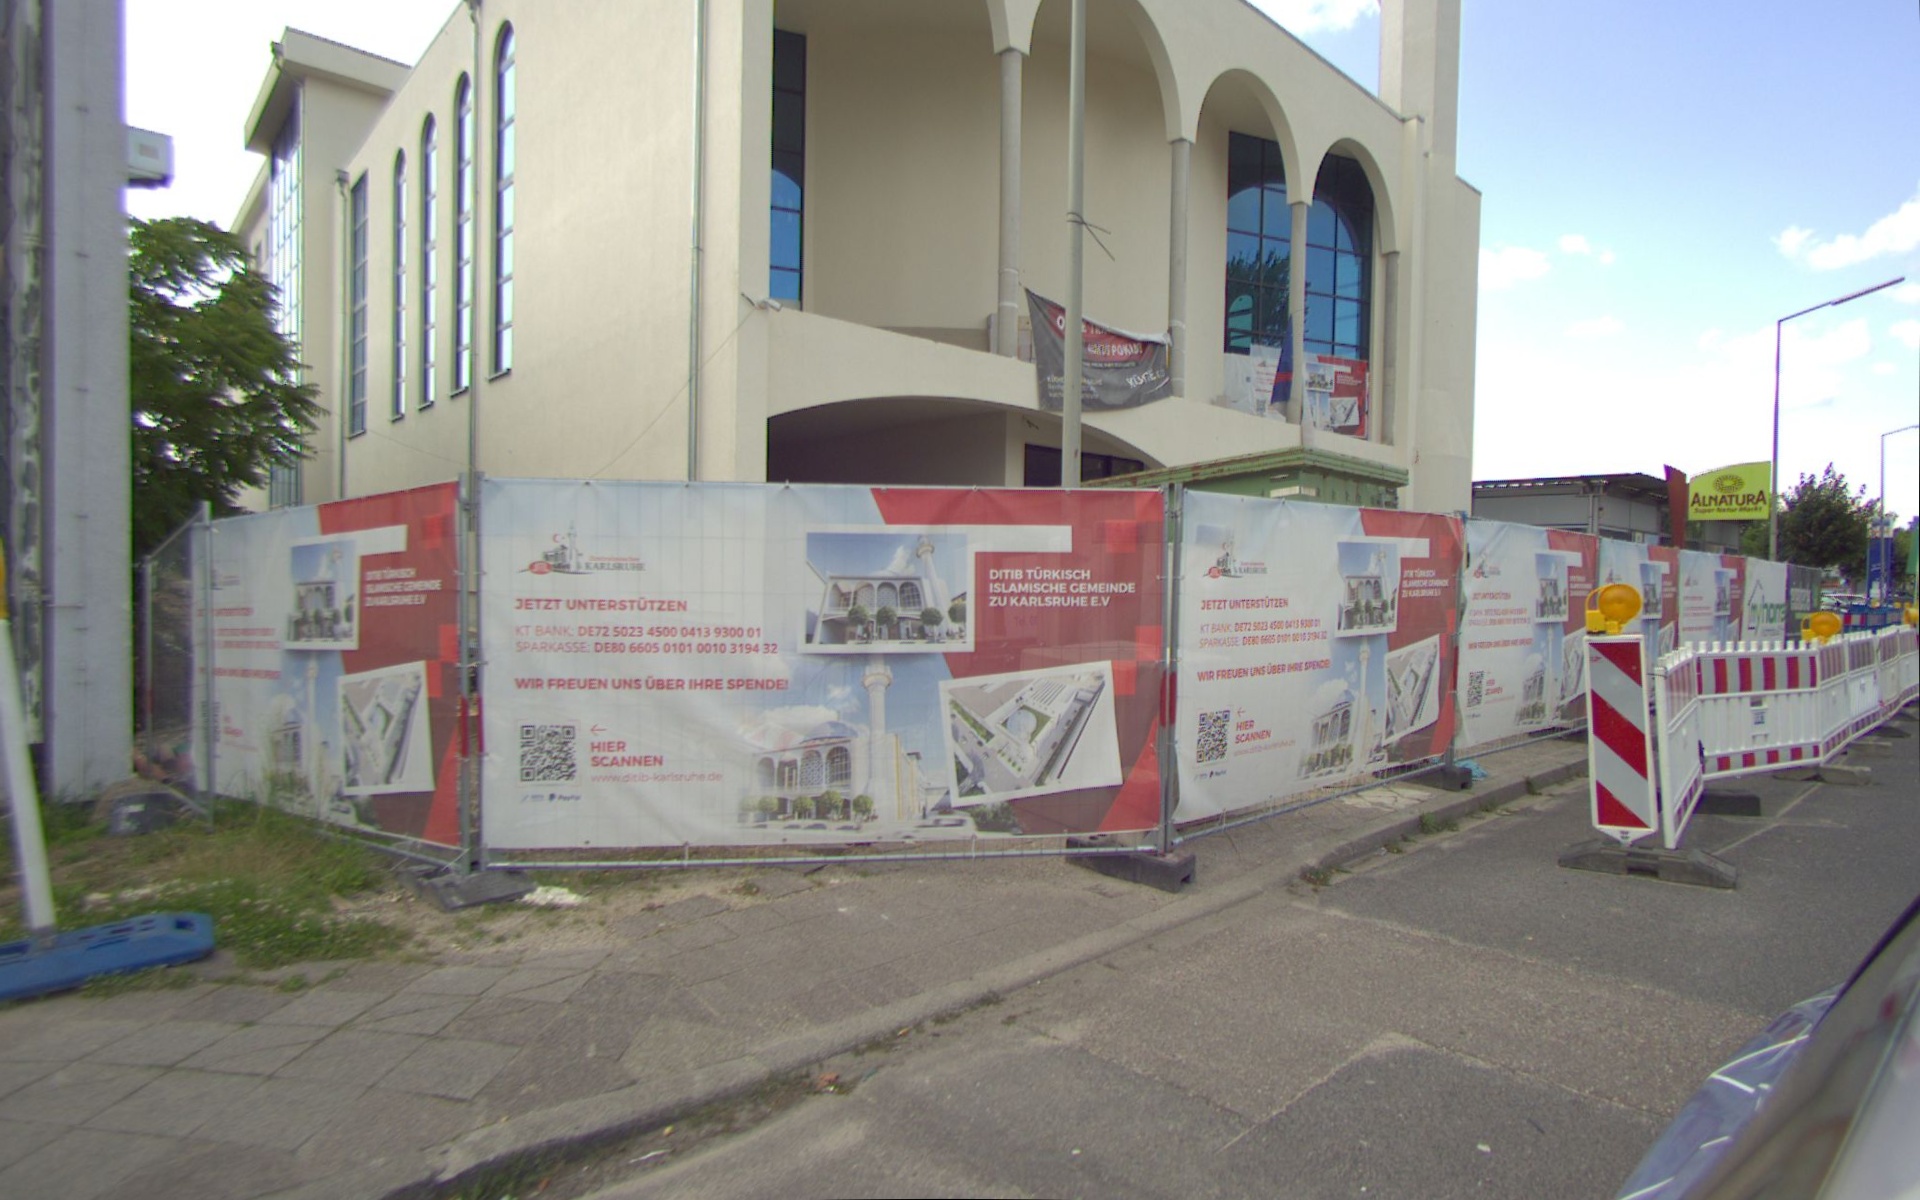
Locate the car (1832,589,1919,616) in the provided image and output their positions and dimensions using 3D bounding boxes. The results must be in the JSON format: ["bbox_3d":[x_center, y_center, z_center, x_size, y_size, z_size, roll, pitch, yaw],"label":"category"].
[{"bbox_3d":[55.551,0.132,61.316,1.767,1.428,3.956,0,3,-45],"label":"car"}]

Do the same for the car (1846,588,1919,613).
[{"bbox_3d":[61.170,0.046,66.495,1.816,1.461,4.313,0,3,-43],"label":"car"}]

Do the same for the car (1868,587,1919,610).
[{"bbox_3d":[78.766,-0.083,84.008,1.870,1.810,4.901,0,2,-42],"label":"car"}]

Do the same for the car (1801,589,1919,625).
[{"bbox_3d":[42.913,0.289,48.236,1.956,1.481,4.109,0,3,-43],"label":"car"}]
